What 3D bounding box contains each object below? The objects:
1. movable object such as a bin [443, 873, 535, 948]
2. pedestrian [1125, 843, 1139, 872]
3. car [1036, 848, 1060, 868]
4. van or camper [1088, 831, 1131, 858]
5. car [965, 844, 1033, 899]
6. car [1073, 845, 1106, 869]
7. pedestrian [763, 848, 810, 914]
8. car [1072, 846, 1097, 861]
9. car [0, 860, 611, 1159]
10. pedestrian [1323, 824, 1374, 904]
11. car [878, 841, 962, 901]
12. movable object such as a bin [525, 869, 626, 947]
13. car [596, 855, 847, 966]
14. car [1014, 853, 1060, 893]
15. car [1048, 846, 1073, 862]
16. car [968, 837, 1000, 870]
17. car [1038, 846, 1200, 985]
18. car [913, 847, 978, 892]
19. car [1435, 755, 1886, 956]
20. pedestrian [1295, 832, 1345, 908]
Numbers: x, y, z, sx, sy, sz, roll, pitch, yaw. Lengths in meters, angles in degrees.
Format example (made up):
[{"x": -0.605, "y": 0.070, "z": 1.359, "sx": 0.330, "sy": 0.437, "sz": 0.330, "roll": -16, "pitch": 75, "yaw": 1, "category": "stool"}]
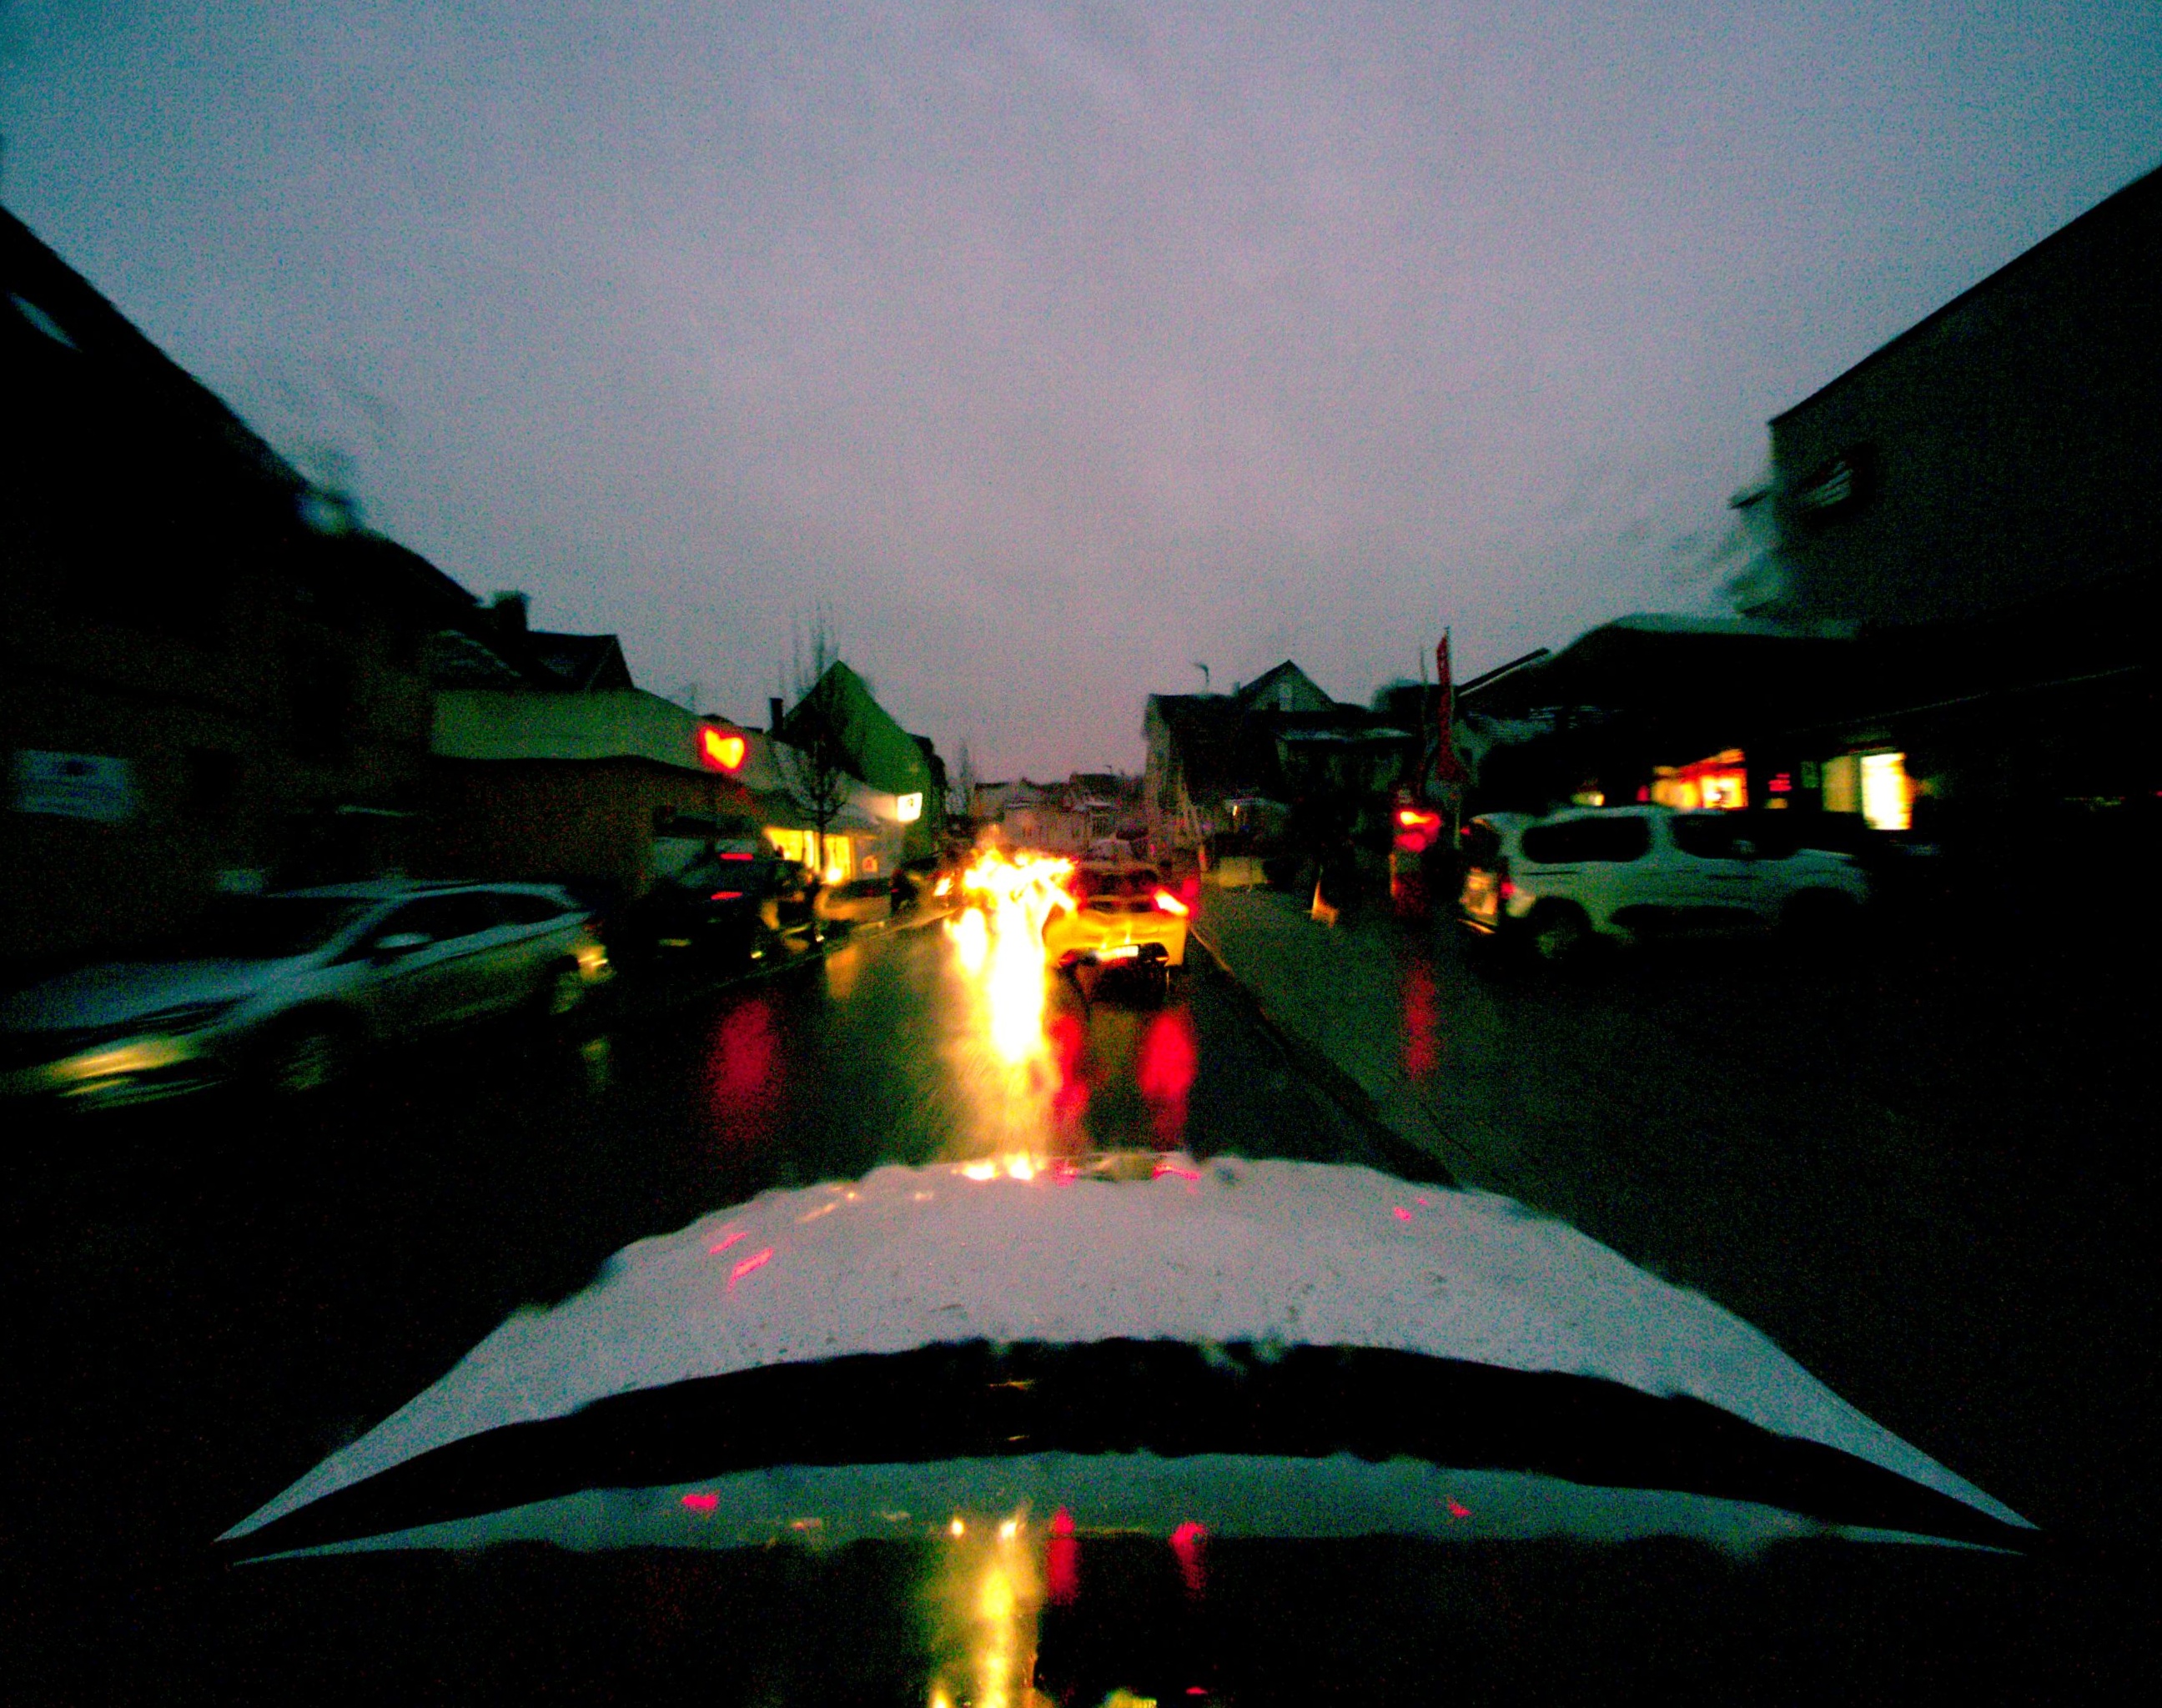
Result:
[{"x": -11.344, "y": 1.062, "z": 15.655, "sx": 1.150, "sy": 1.354, "sz": 0.849, "roll": -1, "pitch": 0, "yaw": -10, "category": "movable object such as a bin"}, {"x": 3.123, "y": 0.220, "z": 49.803, "sx": 0.743, "sy": 1.729, "sz": 0.872, "roll": -1, "pitch": 1, "yaw": -3, "category": "pedestrian"}, {"x": -3.141, "y": 0.341, "z": 77.042, "sx": 1.991, "sy": 1.857, "sz": 3.992, "roll": 0, "pitch": 0, "yaw": -5, "category": "car"}, {"x": 3.447, "y": -1.094, "z": 99.967, "sx": 2.662, "sy": 3.047, "sz": 6.684, "roll": -5, "pitch": 1, "yaw": -22, "category": "van or camper"}, {"x": -2.818, "y": 0.529, "z": 28.923, "sx": 1.988, "sy": 1.705, "sz": 4.965, "roll": 1, "pitch": 1, "yaw": -1, "category": "car"}, {"x": 0.531, "y": 0.227, "z": 56.151, "sx": 1.990, "sy": 1.588, "sz": 3.994, "roll": 0, "pitch": 0, "yaw": -4, "category": "car"}, {"x": -8.572, "y": 0.768, "z": 23.736, "sx": 0.936, "sy": 1.876, "sz": 1.013, "roll": -1, "pitch": 0, "yaw": 2, "category": "pedestrian"}, {"x": 0.363, "y": -0.057, "z": 99.176, "sx": 1.996, "sy": 1.610, "sz": 4.154, "roll": -3, "pitch": -1, "yaw": -14, "category": "car"}, {"x": -6.238, "y": 0.860, "z": 6.699, "sx": 1.986, "sy": 1.558, "sz": 4.622, "roll": 0, "pitch": 0, "yaw": 1, "category": "car"}, {"x": 5.950, "y": 0.226, "z": 18.140, "sx": 0.702, "sy": 1.705, "sz": 0.913, "roll": -3, "pitch": 0, "yaw": -5, "category": "pedestrian"}, {"x": -5.223, "y": 0.500, "z": 27.134, "sx": 2.082, "sy": 1.792, "sz": 5.017, "roll": -1, "pitch": 0, "yaw": -4, "category": "car"}, {"x": -9.816, "y": 1.029, "z": 15.863, "sx": 1.340, "sy": 1.354, "sz": 0.886, "roll": -4, "pitch": 0, "yaw": -9, "category": "movable object such as a bin"}, {"x": -5.773, "y": 0.798, "z": 13.948, "sx": 1.987, "sy": 1.522, "sz": 4.978, "roll": -1, "pitch": 0, "yaw": 1, "category": "car"}, {"x": -2.062, "y": 0.868, "z": 39.273, "sx": 1.946, "sy": 1.546, "sz": 4.415, "roll": -3, "pitch": 3, "yaw": -1, "category": "car"}, {"x": -2.490, "y": 0.041, "z": 98.804, "sx": 1.998, "sy": 1.765, "sz": 4.327, "roll": -3, "pitch": 1, "yaw": -16, "category": "car"}, {"x": -7.845, "y": 0.032, "z": 66.393, "sx": 2.483, "sy": 2.560, "sz": 6.746, "roll": 0, "pitch": -1, "yaw": -6, "category": "car"}, {"x": 0.359, "y": 0.688, "z": 11.090, "sx": 1.810, "sy": 1.533, "sz": 3.997, "roll": 0, "pitch": 0, "yaw": -2, "category": "car"}, {"x": -5.457, "y": 0.602, "z": 33.318, "sx": 1.874, "sy": 1.710, "sz": 4.711, "roll": 0, "pitch": 0, "yaw": 0, "category": "car"}, {"x": 6.905, "y": 0.041, "z": 10.197, "sx": 4.067, "sy": 2.049, "sz": 2.005, "roll": -3, "pitch": 0, "yaw": 8, "category": "car"}, {"x": 5.597, "y": 0.368, "z": 19.100, "sx": 0.840, "sy": 1.705, "sz": 0.838, "roll": -3, "pitch": 0, "yaw": -1, "category": "pedestrian"}]
